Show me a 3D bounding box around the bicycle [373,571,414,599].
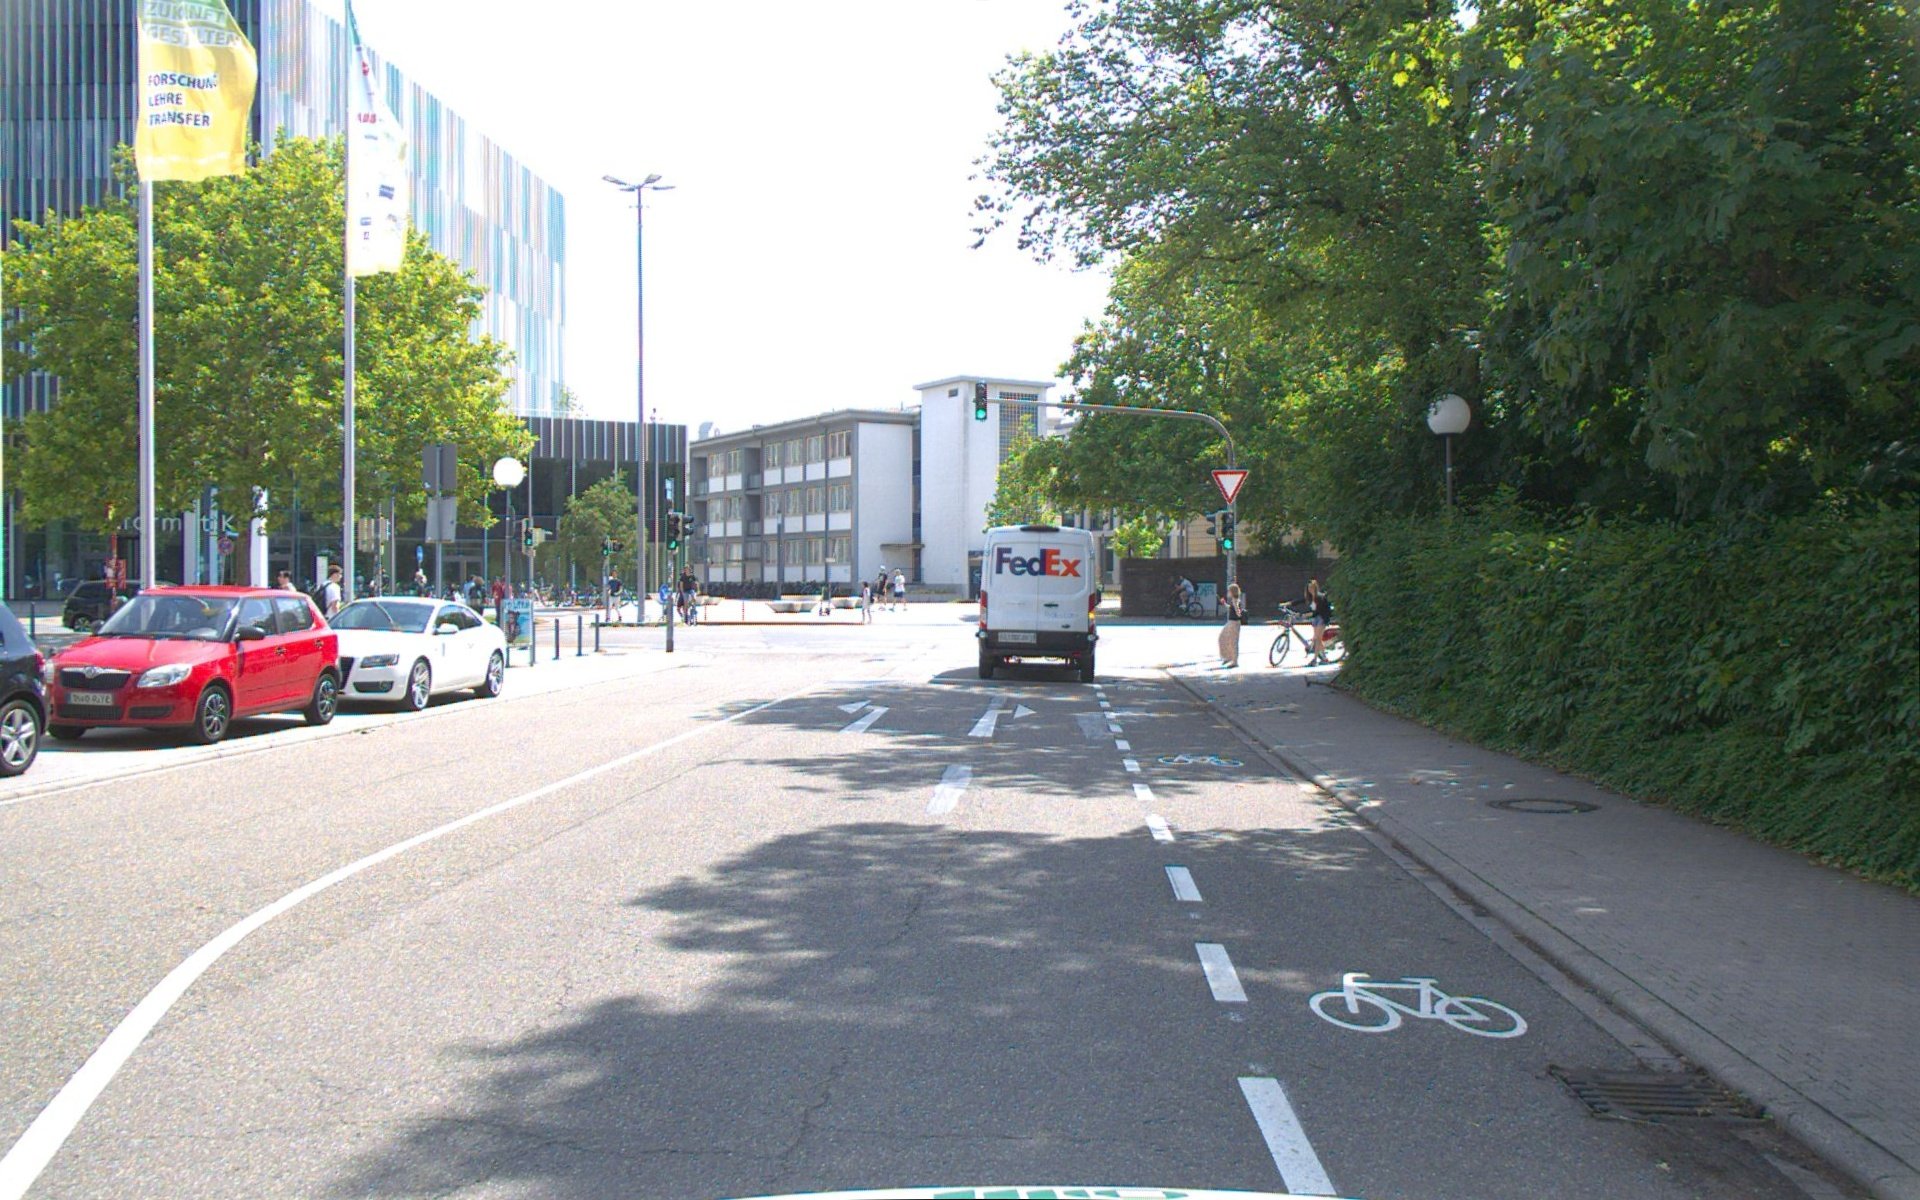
[{"bbox_3d":[-26.467,-0.710,77.254,1.185,1.259,2.919,0,0,-32],"label":"bicycle"}]

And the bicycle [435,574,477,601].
[{"bbox_3d":[-24.253,-0.591,79.508,1.186,1.259,2.918,0,0,-33],"label":"bicycle"}]

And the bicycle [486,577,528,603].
[{"bbox_3d":[-22.192,-0.505,80.955,1.186,1.259,2.918,0,0,-33],"label":"bicycle"}]

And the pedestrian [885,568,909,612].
[{"bbox_3d":[-2.737,-0.437,72.034,0.851,1.922,0.909,0,0,-16],"label":"pedestrian"}]

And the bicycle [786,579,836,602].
[{"bbox_3d":[-9.132,-0.565,101.556,2.930,1.387,1.104,0,0,-35],"label":"bicycle"}]

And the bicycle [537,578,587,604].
[{"bbox_3d":[-19.778,-0.472,82.110,1.191,1.259,2.906,0,0,-42],"label":"bicycle"}]

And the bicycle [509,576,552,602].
[{"bbox_3d":[-21.182,-0.542,81.588,1.186,1.259,2.917,0,0,-34],"label":"bicycle"}]

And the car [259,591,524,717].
[{"bbox_3d":[-7.455,0.635,22.214,1.641,1.419,4.665,2,1,4],"label":"car"}]

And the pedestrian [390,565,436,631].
[{"bbox_3d":[-16.092,-0.063,48.669,0.836,1.909,1.005,0,1,26],"label":"pedestrian"}]

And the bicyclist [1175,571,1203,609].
[{"bbox_3d":[9.231,-0.414,66.681,0.832,1.493,1.067,0,1,27],"label":"bicyclist"}]

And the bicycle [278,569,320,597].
[{"bbox_3d":[-29.893,-0.769,74.763,1.186,1.259,2.917,0,0,-33],"label":"bicycle"}]

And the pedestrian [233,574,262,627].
[{"bbox_3d":[-35.210,0.027,81.733,0.952,2.609,1.015,1,0,3],"label":"pedestrian"}]

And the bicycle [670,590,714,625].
[{"bbox_3d":[-9.097,0.252,56.259,0.754,1.142,2.028,0,1,13],"label":"bicycle"}]

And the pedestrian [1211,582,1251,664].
[{"bbox_3d":[5.396,0.453,32.944,0.715,1.603,0.776,1,0,6],"label":"pedestrian"}]

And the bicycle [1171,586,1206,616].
[{"bbox_3d":[9.244,0.023,66.727,0.831,1.165,1.994,0,1,26],"label":"bicycle"}]

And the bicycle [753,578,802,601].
[{"bbox_3d":[-11.597,-0.659,105.145,2.930,1.387,1.104,0,0,-35],"label":"bicycle"}]

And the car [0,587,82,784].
[{"bbox_3d":[-8.354,0.658,11.723,1.711,1.492,4.199,2,1,5],"label":"car"}]

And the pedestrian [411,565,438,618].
[{"bbox_3d":[-26.381,-0.417,81.463,0.966,2.609,1.000,0,0,-39],"label":"pedestrian"}]

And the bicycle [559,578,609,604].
[{"bbox_3d":[-18.886,-0.471,82.975,1.191,1.259,2.906,0,0,-42],"label":"bicycle"}]

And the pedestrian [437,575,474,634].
[{"bbox_3d":[-14.149,0.117,46.395,0.754,1.625,0.799,0,1,5],"label":"pedestrian"}]

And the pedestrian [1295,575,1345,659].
[{"bbox_3d":[7.030,0.328,32.331,0.716,1.603,0.726,-2,-1,-3],"label":"pedestrian"}]

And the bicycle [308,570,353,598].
[{"bbox_3d":[-28.744,-0.730,75.513,1.361,1.259,2.918,0,0,-33],"label":"bicycle"}]

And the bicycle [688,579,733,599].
[{"bbox_3d":[-17.375,-0.782,115.029,2.930,1.387,1.104,0,0,-35],"label":"bicycle"}]

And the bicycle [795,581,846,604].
[{"bbox_3d":[-8.470,-0.440,100.417,2.930,1.387,1.104,0,0,-35],"label":"bicycle"}]

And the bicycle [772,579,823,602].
[{"bbox_3d":[-10.085,-0.586,102.877,2.930,1.387,1.260,0,0,-35],"label":"bicycle"}]

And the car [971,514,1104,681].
[{"bbox_3d":[1.375,-0.083,29.378,2.051,2.611,5.604,2,1,3],"label":"car"}]

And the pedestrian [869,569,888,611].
[{"bbox_3d":[-3.594,-0.452,72.747,0.657,1.846,0.812,0,0,-16],"label":"pedestrian"}]

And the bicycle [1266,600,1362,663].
[{"bbox_3d":[6.937,0.616,32.475,1.702,1.146,0.593,-2,-1,-3],"label":"bicycle"}]

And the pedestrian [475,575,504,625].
[{"bbox_3d":[-16.195,0.008,56.913,0.737,1.707,0.756,0,1,4],"label":"pedestrian"}]

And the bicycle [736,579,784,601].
[{"bbox_3d":[-13.004,-0.661,107.340,2.930,1.387,1.104,0,0,-35],"label":"bicycle"}]

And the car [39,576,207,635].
[{"bbox_3d":[-24.846,0.154,49.172,4.191,1.690,1.654,0,1,4],"label":"car"}]

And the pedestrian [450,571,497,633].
[{"bbox_3d":[-14.731,0.046,50.086,0.844,1.850,1.095,0,1,27],"label":"pedestrian"}]

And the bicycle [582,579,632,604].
[{"bbox_3d":[-17.877,-0.444,83.707,1.191,1.259,2.906,0,0,-42],"label":"bicycle"}]

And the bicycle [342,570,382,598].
[{"bbox_3d":[-27.581,-0.728,76.255,1.185,1.259,2.919,0,0,-32],"label":"bicycle"}]

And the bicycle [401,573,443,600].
[{"bbox_3d":[-25.366,-0.647,77.987,1.186,1.259,2.918,0,0,-33],"label":"bicycle"}]

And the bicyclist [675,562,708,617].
[{"bbox_3d":[-9.112,-0.346,56.183,0.772,1.849,1.000,0,1,12],"label":"bicyclist"}]

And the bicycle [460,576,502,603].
[{"bbox_3d":[-23.267,-0.530,80.236,1.186,1.259,2.918,0,0,-33],"label":"bicycle"}]

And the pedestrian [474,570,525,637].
[{"bbox_3d":[-12.937,0.081,46.486,0.789,1.839,1.267,0,1,21],"label":"pedestrian"}]

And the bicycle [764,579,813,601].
[{"bbox_3d":[-10.786,-0.635,103.934,2.930,1.387,1.104,0,0,-35],"label":"bicycle"}]

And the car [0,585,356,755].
[{"bbox_3d":[-7.959,0.630,17.218,1.641,1.492,3.913,2,1,4],"label":"car"}]

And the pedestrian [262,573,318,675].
[{"bbox_3d":[-12.680,0.445,31.320,0.704,1.891,0.770,0,0,5],"label":"pedestrian"}]

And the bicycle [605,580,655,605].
[{"bbox_3d":[-16.858,-0.399,84.478,1.191,1.259,2.906,0,0,-42],"label":"bicycle"}]

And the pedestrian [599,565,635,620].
[{"bbox_3d":[-11.987,-0.275,57.868,0.687,1.887,1.400,0,2,12],"label":"pedestrian"}]

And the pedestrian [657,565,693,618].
[{"bbox_3d":[-10.387,-0.312,60.370,0.813,1.903,1.083,0,1,27],"label":"pedestrian"}]

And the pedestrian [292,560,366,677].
[{"bbox_3d":[-10.469,0.292,27.470,0.704,1.883,1.089,1,1,7],"label":"pedestrian"}]

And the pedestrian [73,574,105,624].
[{"bbox_3d":[-41.555,-0.047,78.897,0.952,2.386,1.015,1,0,3],"label":"pedestrian"}]

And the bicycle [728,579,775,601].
[{"bbox_3d":[-13.659,-0.672,108.403,2.930,1.387,1.104,0,0,-35],"label":"bicycle"}]

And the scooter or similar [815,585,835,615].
[{"bbox_3d":[-5.536,-0.012,67.964,0.703,1.198,2.721,0,1,-7],"label":"scooter or similar"}]

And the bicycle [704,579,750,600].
[{"bbox_3d":[-15.747,-0.724,111.909,2.930,1.387,1.104,0,0,-35],"label":"bicycle"}]

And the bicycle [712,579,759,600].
[{"bbox_3d":[-14.951,-0.702,110.377,2.930,1.387,1.104,0,0,-35],"label":"bicycle"}]

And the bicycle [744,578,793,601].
[{"bbox_3d":[-12.310,-0.673,106.245,2.930,1.387,1.104,0,0,-35],"label":"bicycle"}]

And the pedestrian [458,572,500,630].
[{"bbox_3d":[-14.092,0.013,48.453,0.808,1.683,0.862,0,1,21],"label":"pedestrian"}]

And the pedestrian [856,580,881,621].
[{"bbox_3d":[-3.543,0.016,64.103,0.811,1.550,0.811,0,0,-16],"label":"pedestrian"}]
